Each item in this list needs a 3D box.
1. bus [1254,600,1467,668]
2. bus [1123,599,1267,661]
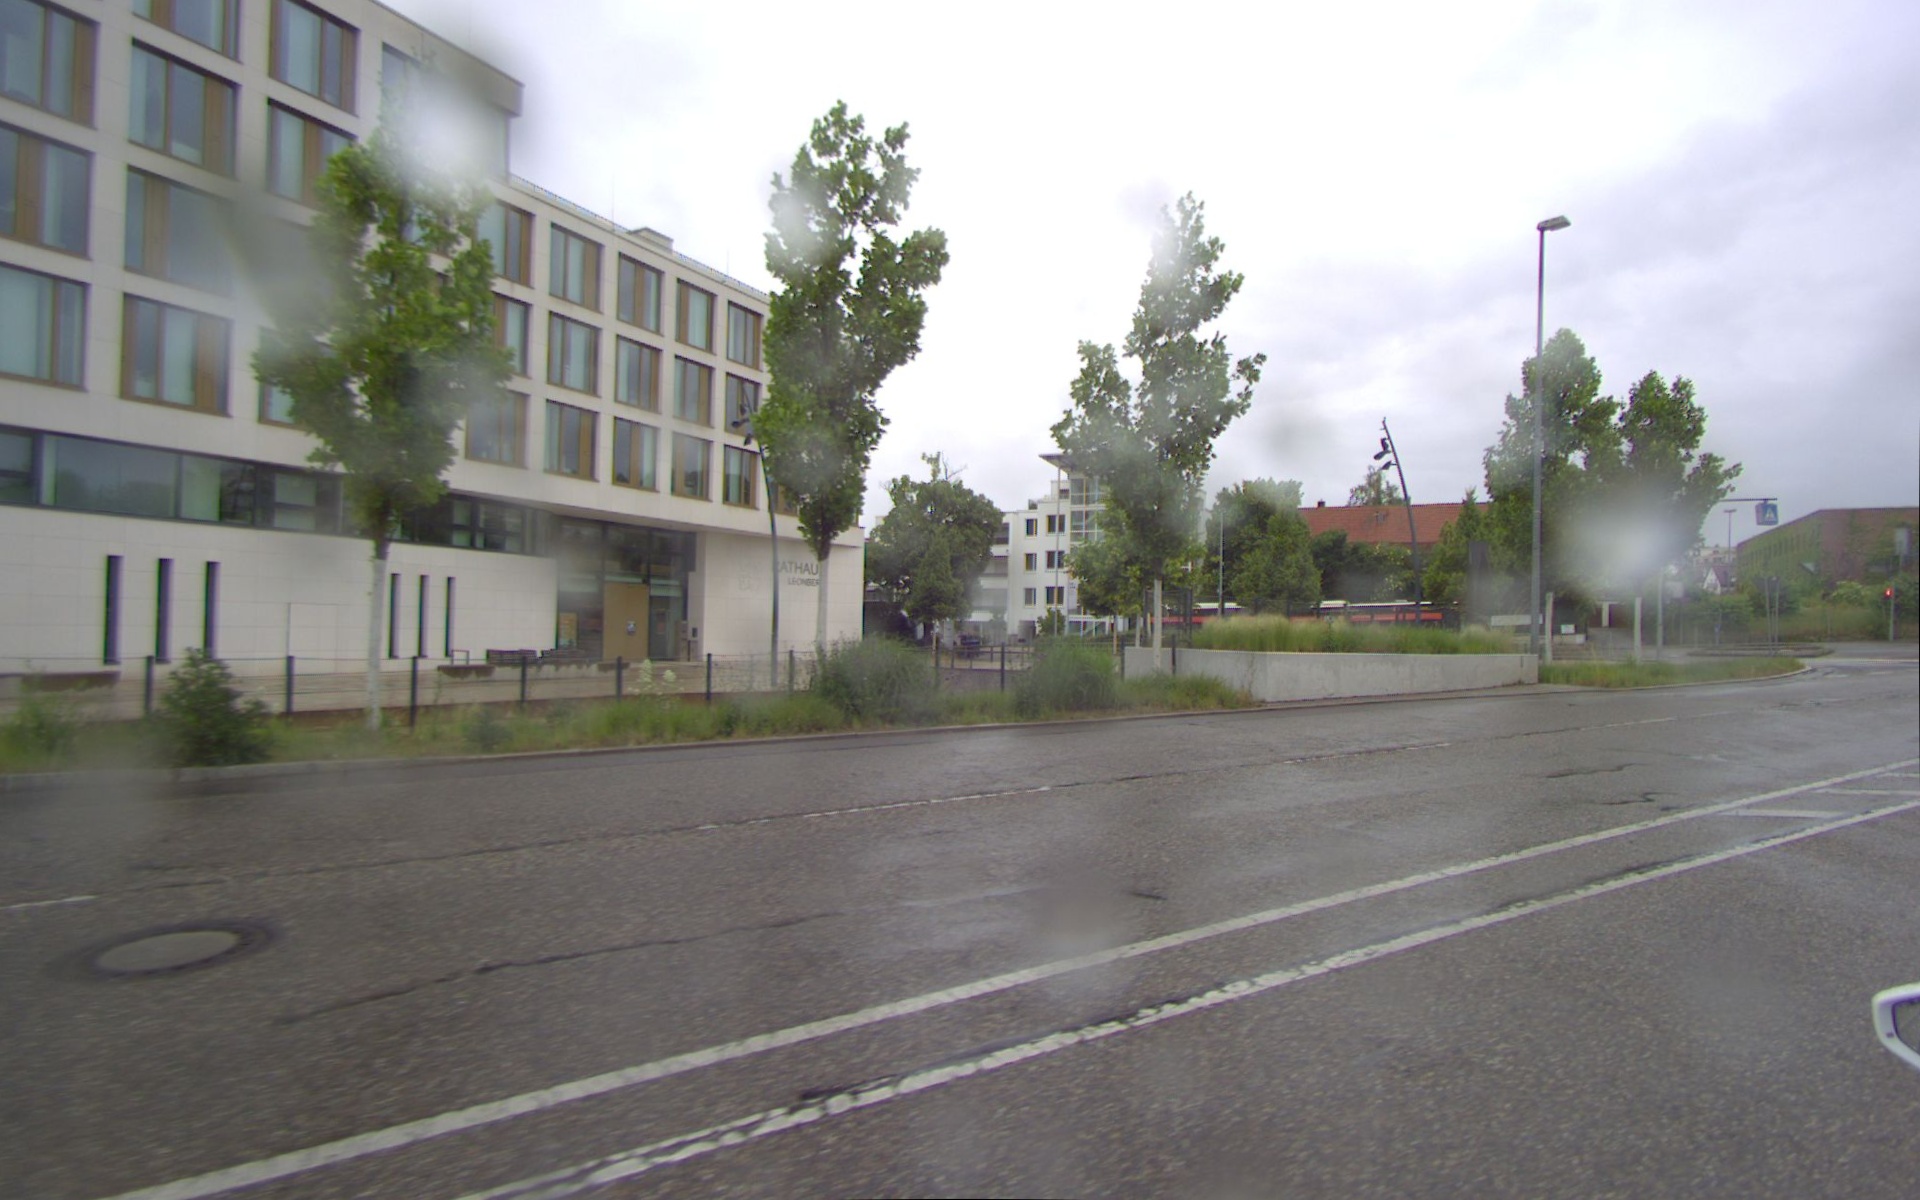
[{"bbox_3d":[21.228,1.756,53.635,10.229,3.323,2.857,0,-4,32],"label":"bus"},{"bbox_3d":[13.639,1.713,58.520,7.699,3.323,2.739,1,-4,29],"label":"bus"}]
